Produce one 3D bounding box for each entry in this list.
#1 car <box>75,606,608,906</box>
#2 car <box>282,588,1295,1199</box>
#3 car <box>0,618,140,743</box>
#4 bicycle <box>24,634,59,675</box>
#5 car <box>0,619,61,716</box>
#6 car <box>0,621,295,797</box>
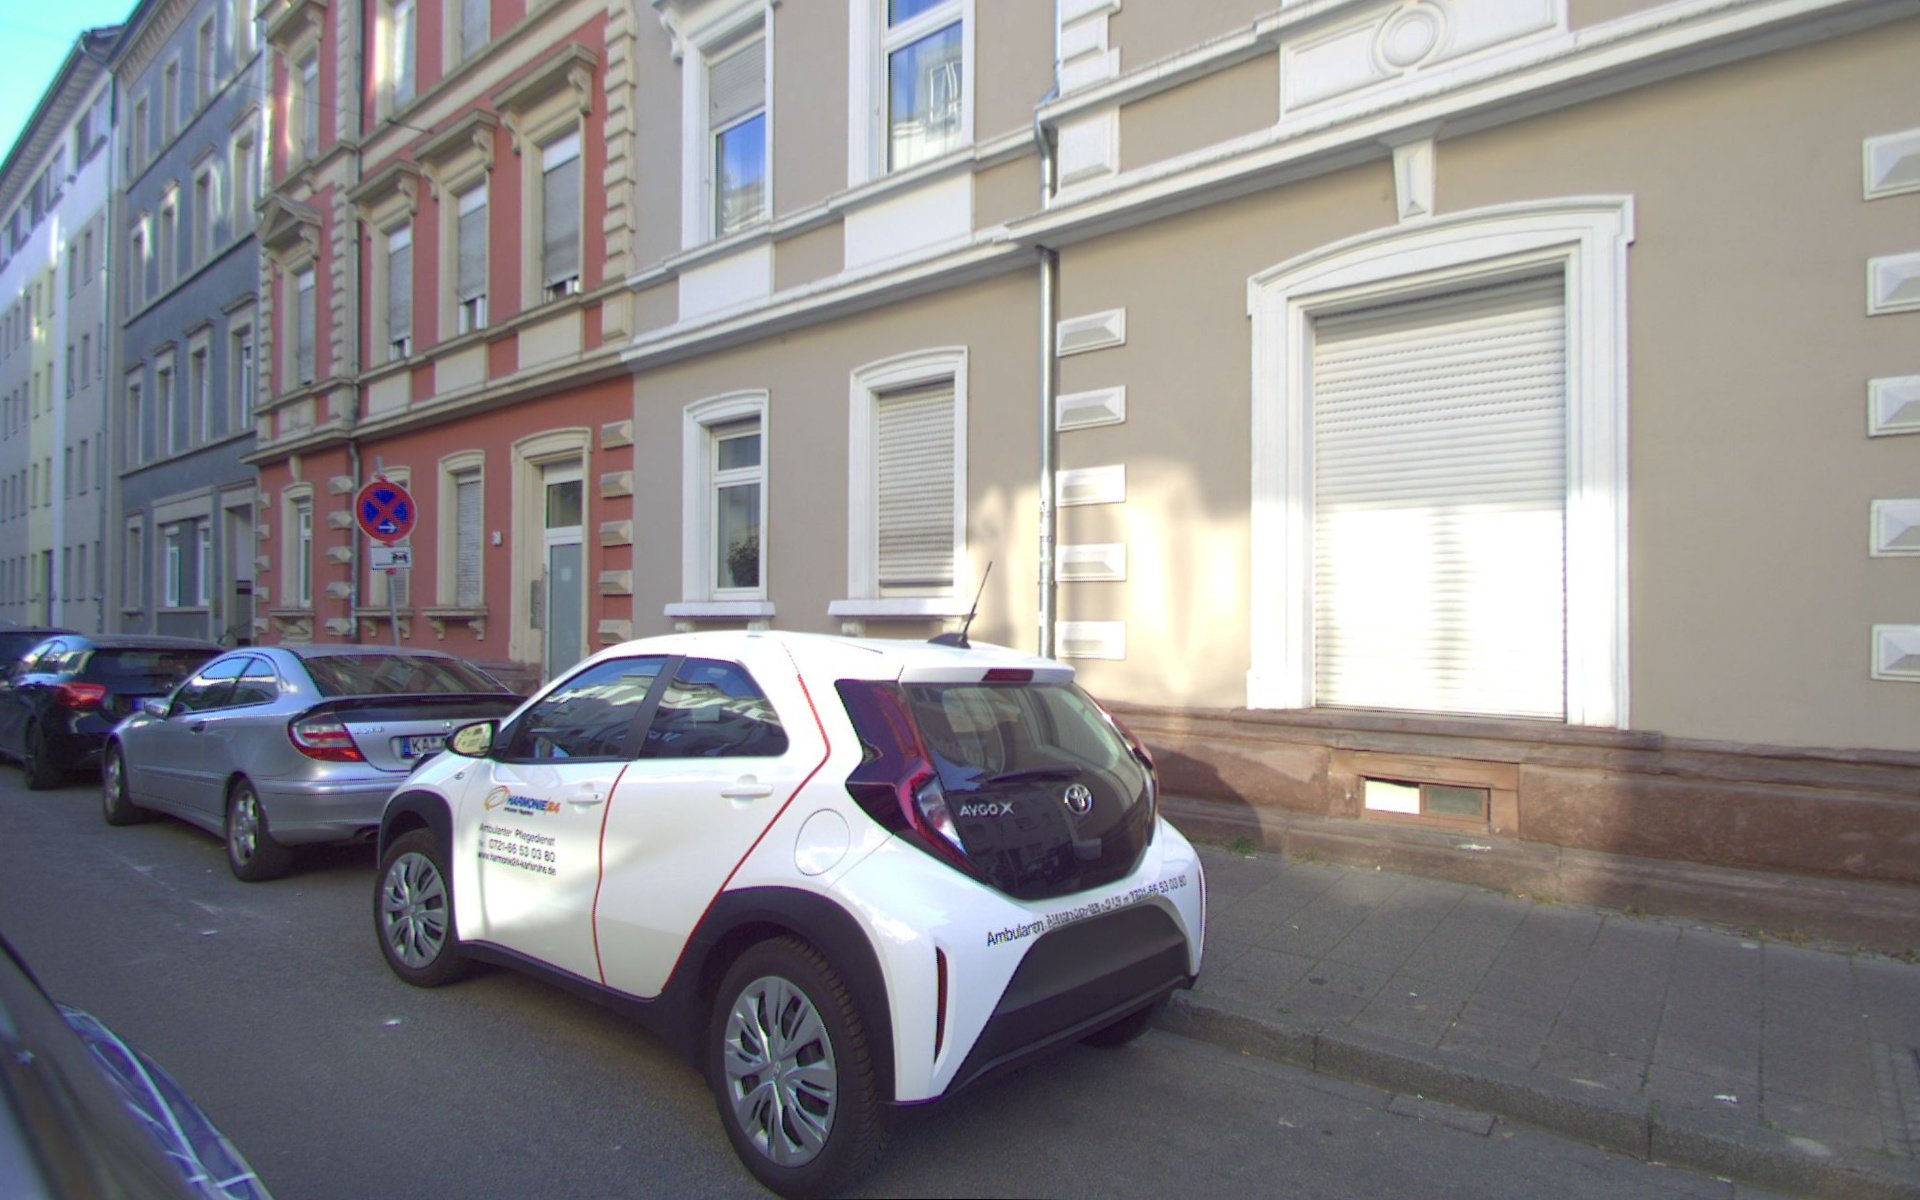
[{"bbox_3d":[-4.664,0.913,7.410,4.261,1.572,1.902,-2,-4,38],"label":"car"},{"bbox_3d":[-1.029,0.835,4.279,4.263,1.519,1.901,-2,-4,40],"label":"car"},{"bbox_3d":[-13.562,1.090,14.475,4.234,1.572,1.883,-2,-4,38],"label":"car"},{"bbox_3d":[-25.150,1.478,27.702,1.750,1.082,0.446,-1,-1,39],"label":"bicycle"},{"bbox_3d":[-17.335,1.125,17.467,4.261,1.572,1.902,-2,-4,38],"label":"car"},{"bbox_3d":[-8.950,1.021,10.685,4.261,1.495,1.902,-2,-4,38],"label":"car"}]
